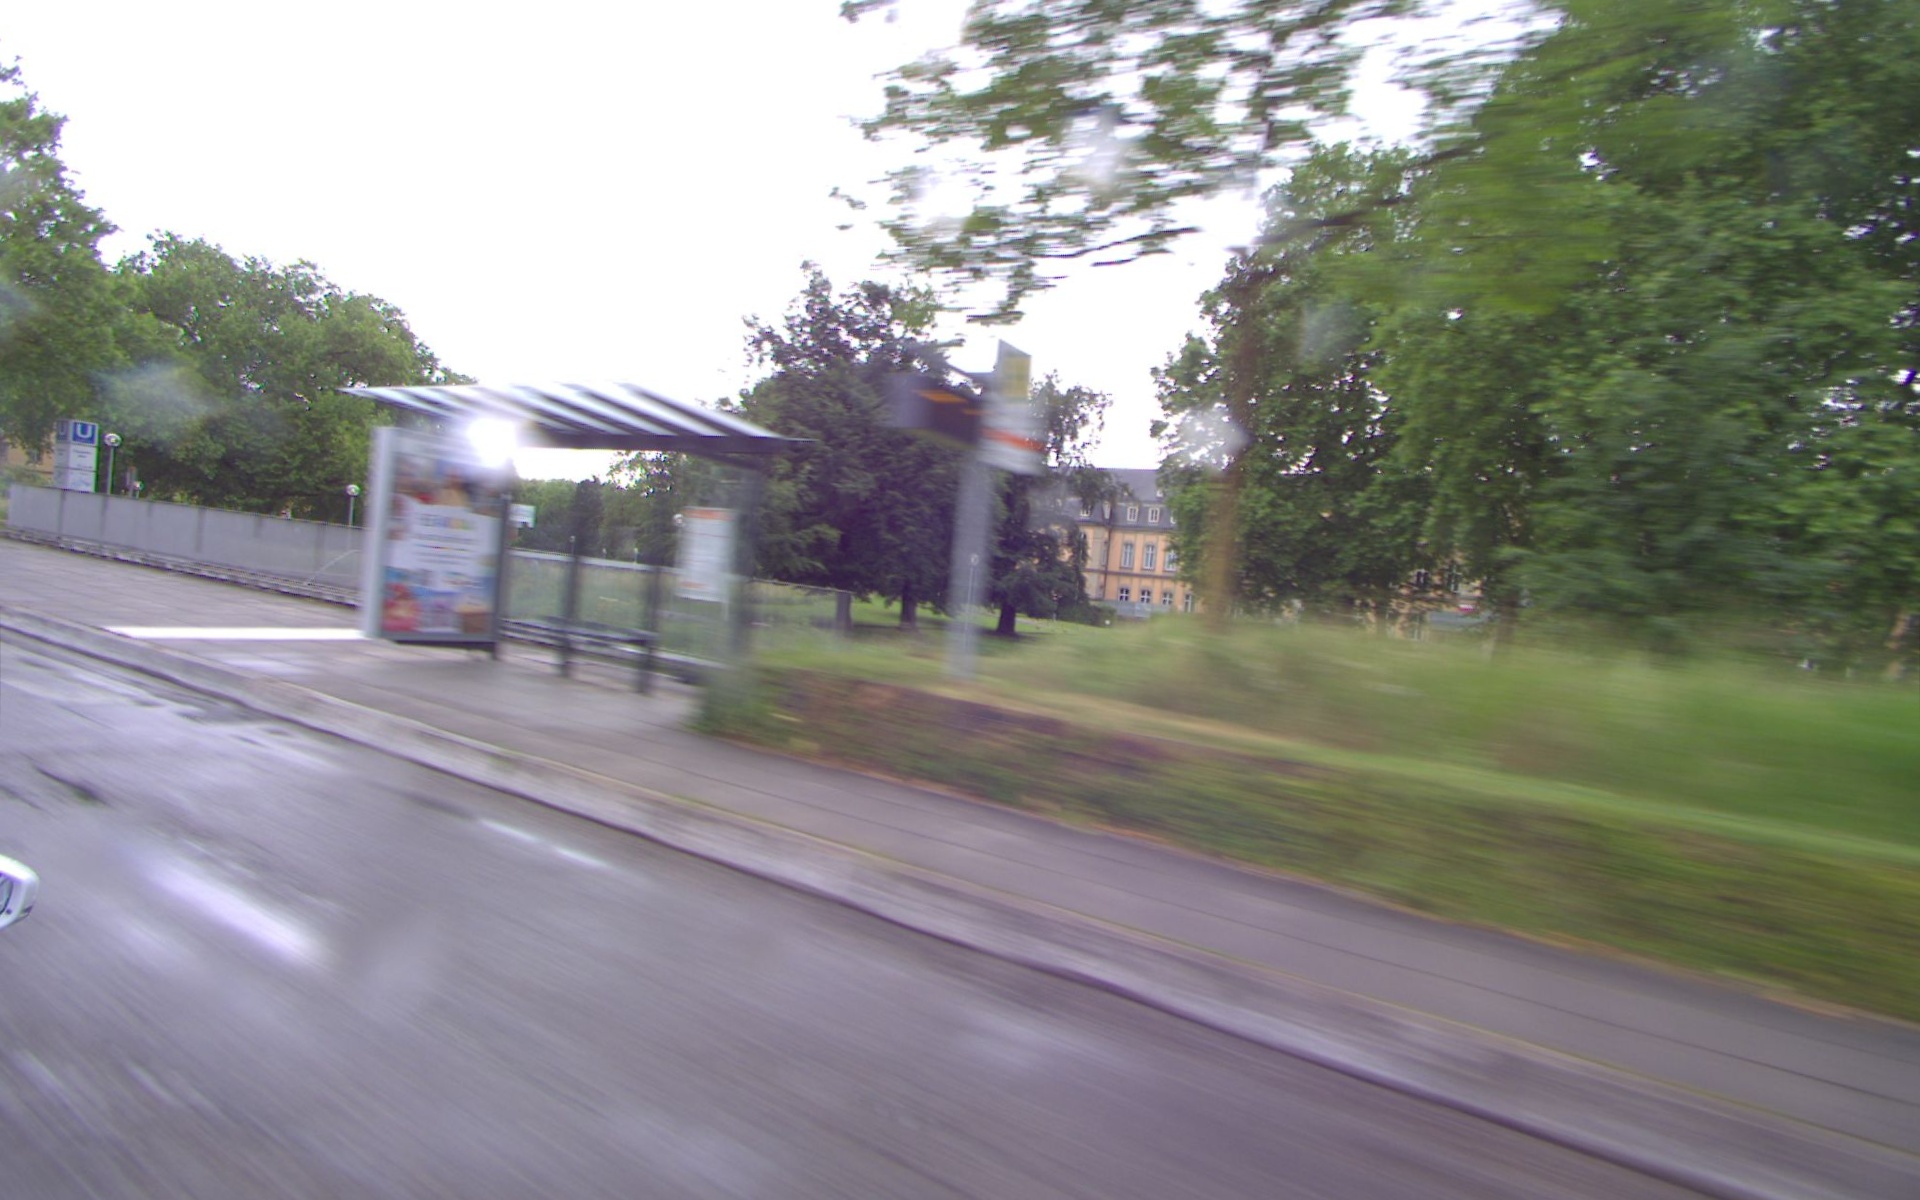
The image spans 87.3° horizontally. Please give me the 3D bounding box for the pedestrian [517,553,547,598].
[{"bbox_3d":[-17.564,-0.996,41.260,0.639,1.712,0.771,6,0,32],"label":"pedestrian"}]
